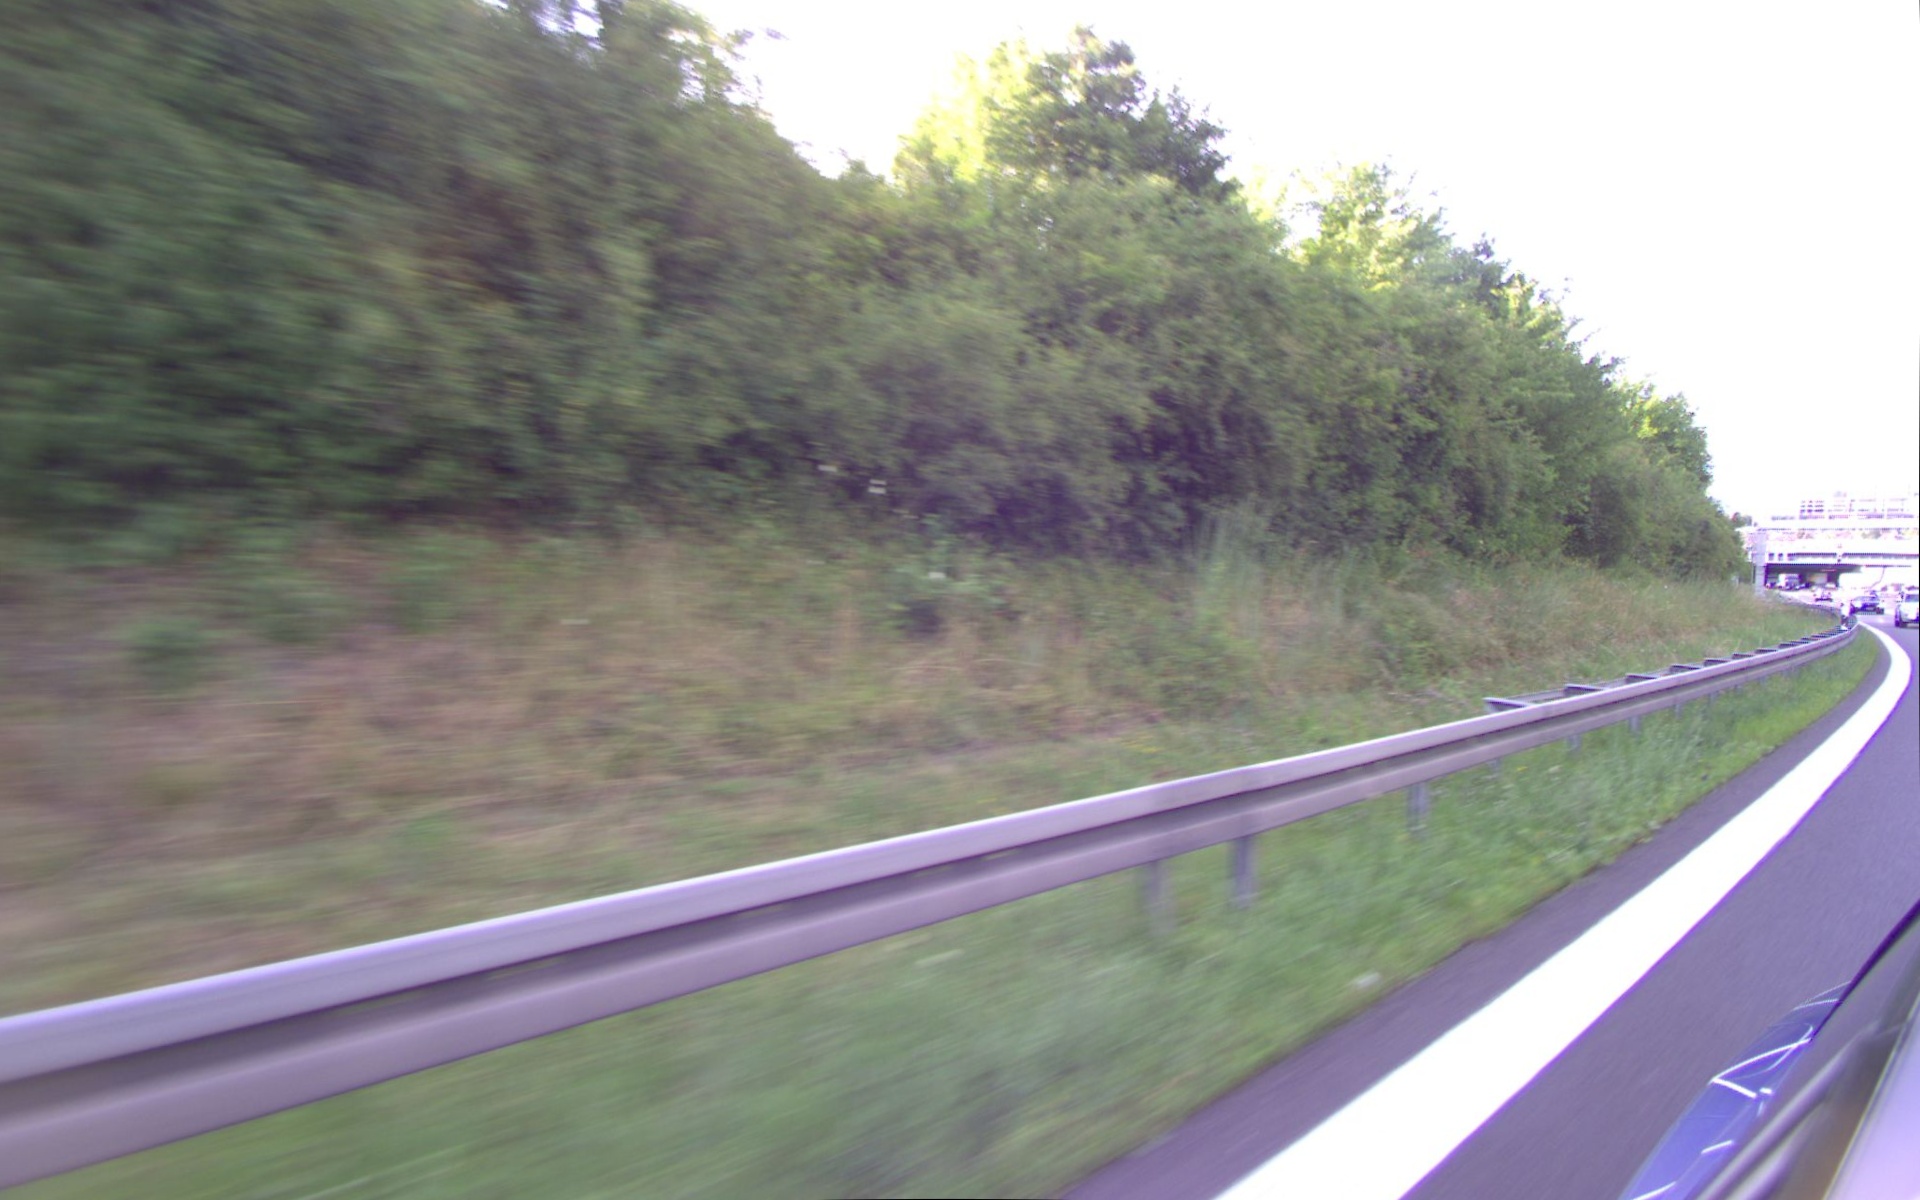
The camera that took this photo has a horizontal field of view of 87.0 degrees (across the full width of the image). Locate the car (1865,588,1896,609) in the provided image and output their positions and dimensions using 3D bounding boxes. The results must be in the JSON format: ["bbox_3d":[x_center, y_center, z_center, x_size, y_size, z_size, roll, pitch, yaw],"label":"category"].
[{"bbox_3d":[68.263,-0.125,75.067,1.614,1.478,3.609,1,1,41],"label":"car"}]

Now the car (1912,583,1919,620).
[{"bbox_3d":[45.622,0.058,47.052,1.901,1.685,3.937,2,2,44],"label":"car"}]
